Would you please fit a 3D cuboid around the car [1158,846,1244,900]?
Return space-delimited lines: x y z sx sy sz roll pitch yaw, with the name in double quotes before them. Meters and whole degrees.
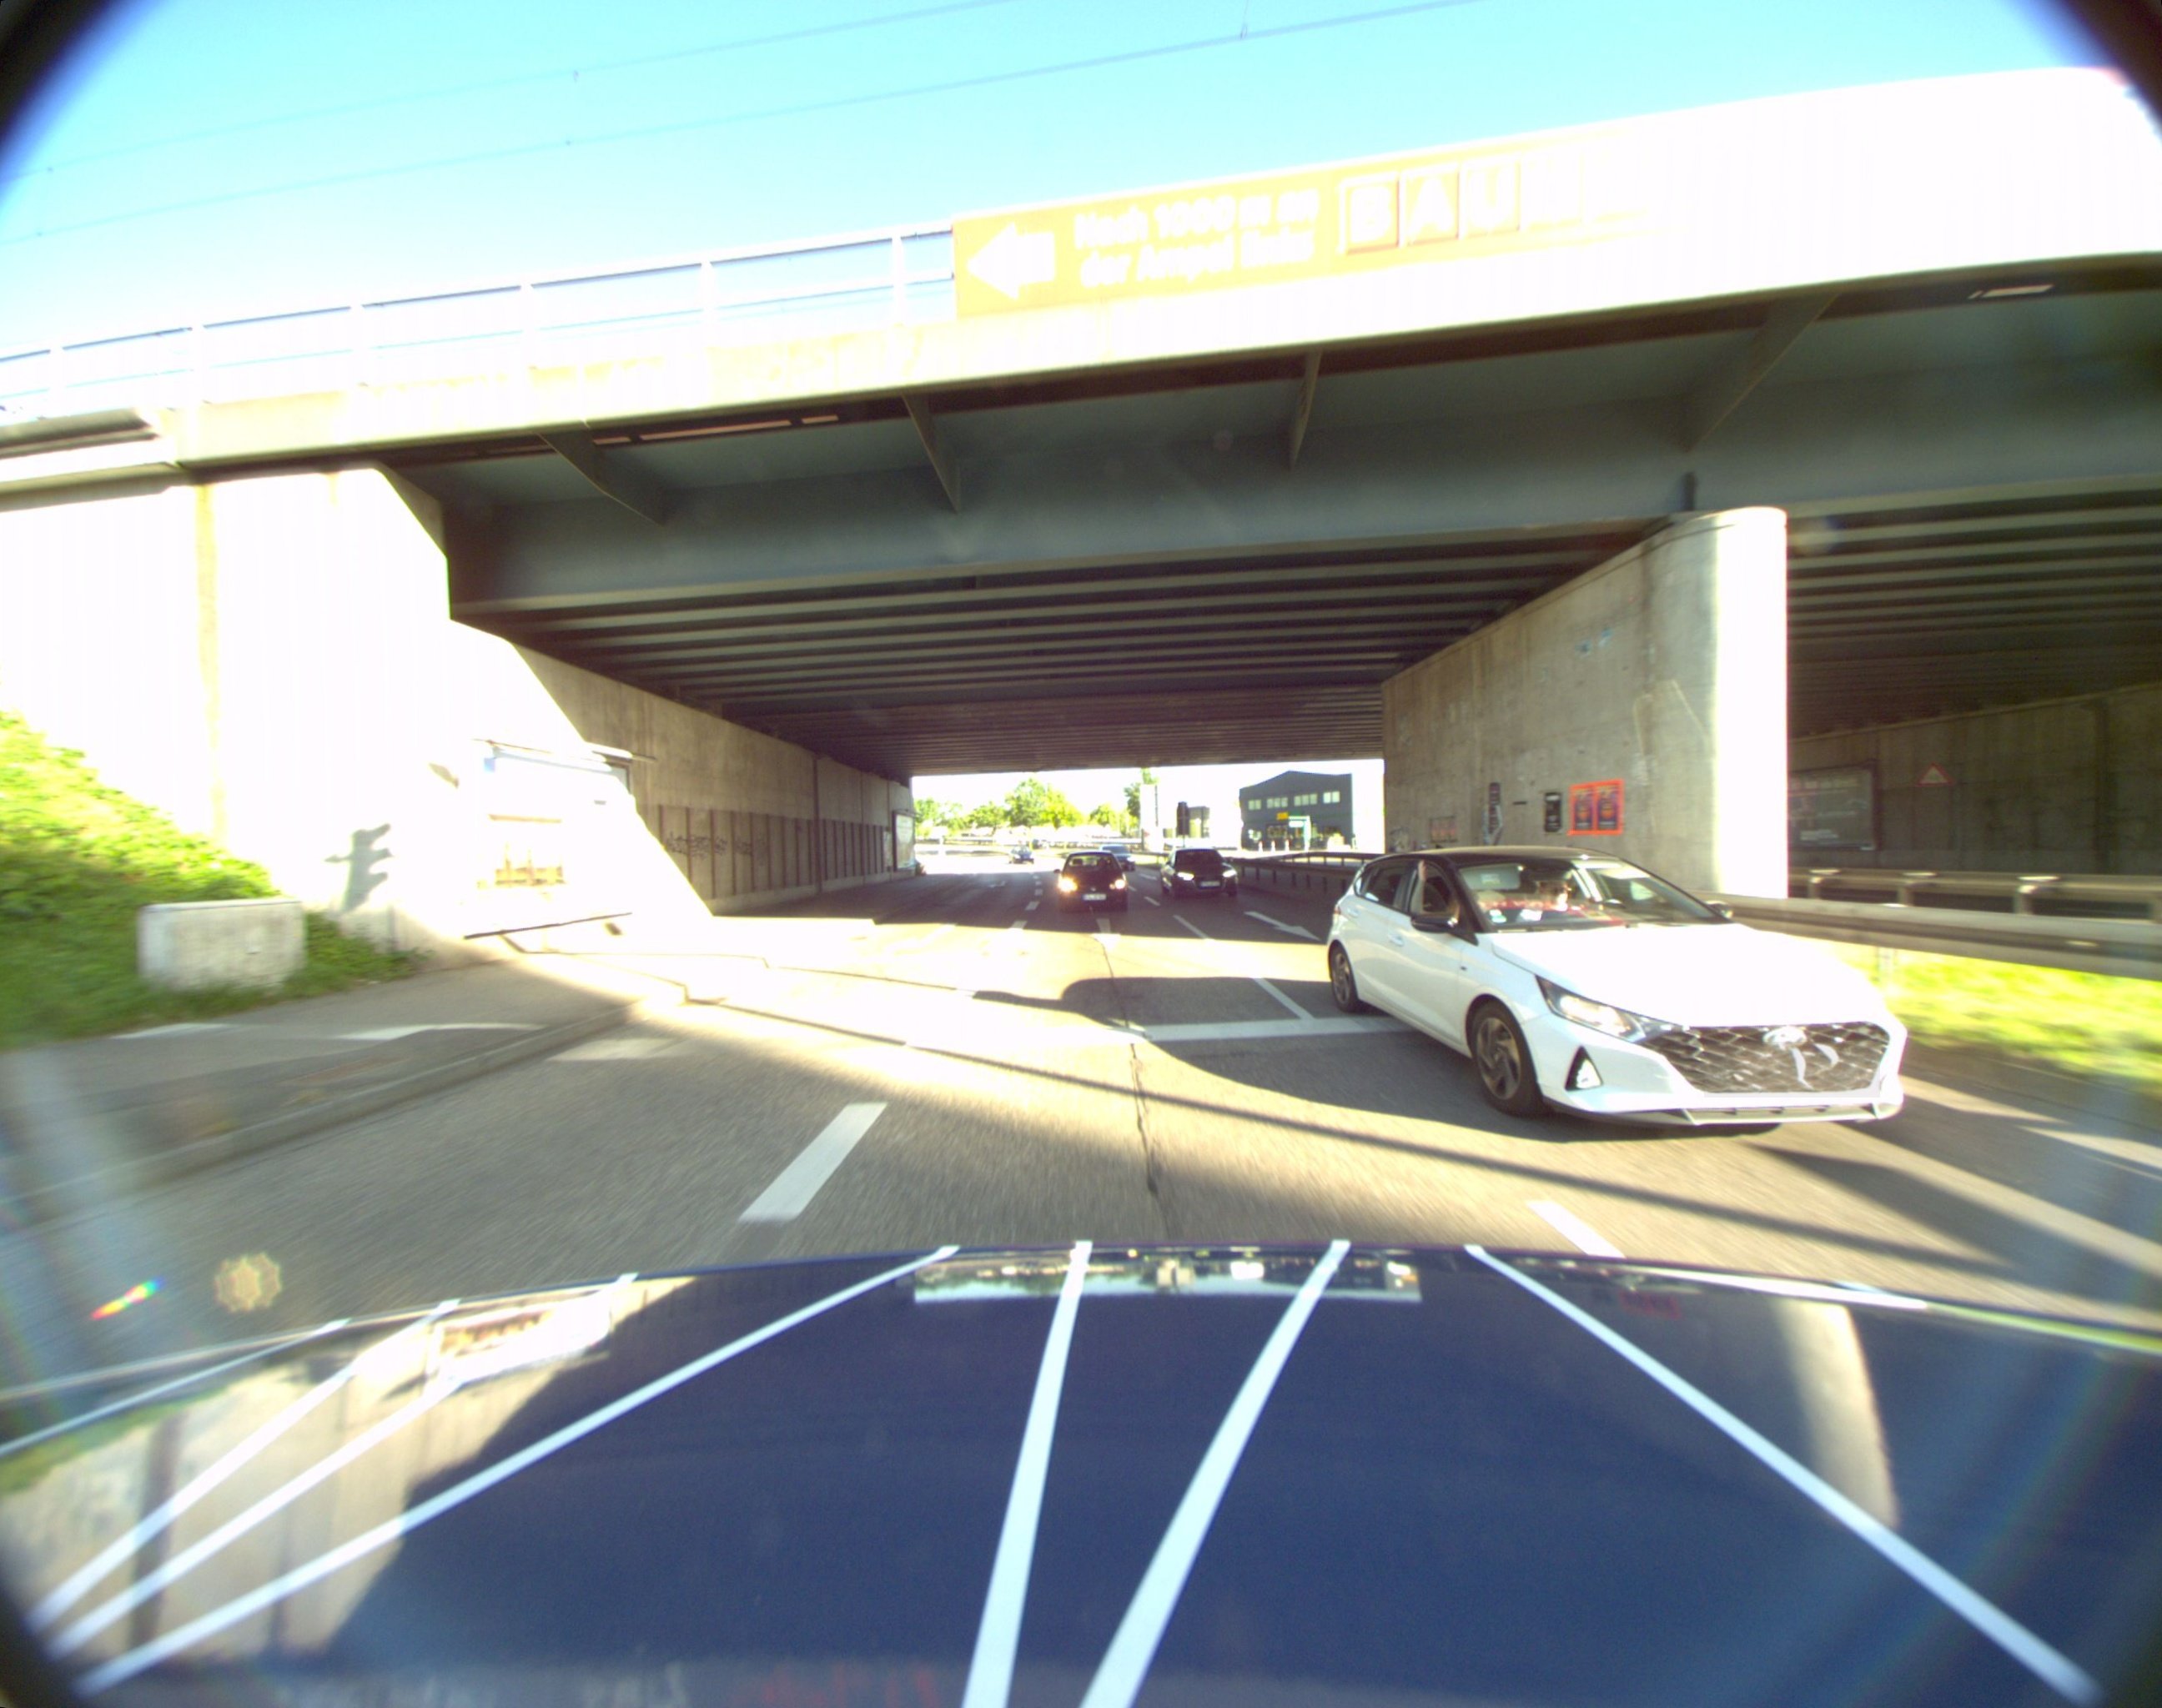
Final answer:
"car" 3.413 0.508 22.369 1.848 1.412 3.981 -2 0 0

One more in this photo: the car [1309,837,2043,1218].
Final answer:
"car" 3.027 0.751 5.102 1.737 1.471 3.992 -3 -1 0

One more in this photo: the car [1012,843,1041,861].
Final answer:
"car" -4.636 -0.149 64.287 1.850 1.474 3.977 -2 0 -12

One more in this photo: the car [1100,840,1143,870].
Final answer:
"car" 2.182 0.064 41.557 1.849 1.515 3.980 -2 0 -4

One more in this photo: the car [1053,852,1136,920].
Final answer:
"car" 0.284 0.680 18.520 1.737 1.412 4.318 -2 0 0

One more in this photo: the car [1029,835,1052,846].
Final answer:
"car" -5.736 -1.909 107.257 1.626 1.511 3.815 -2 1 -32
